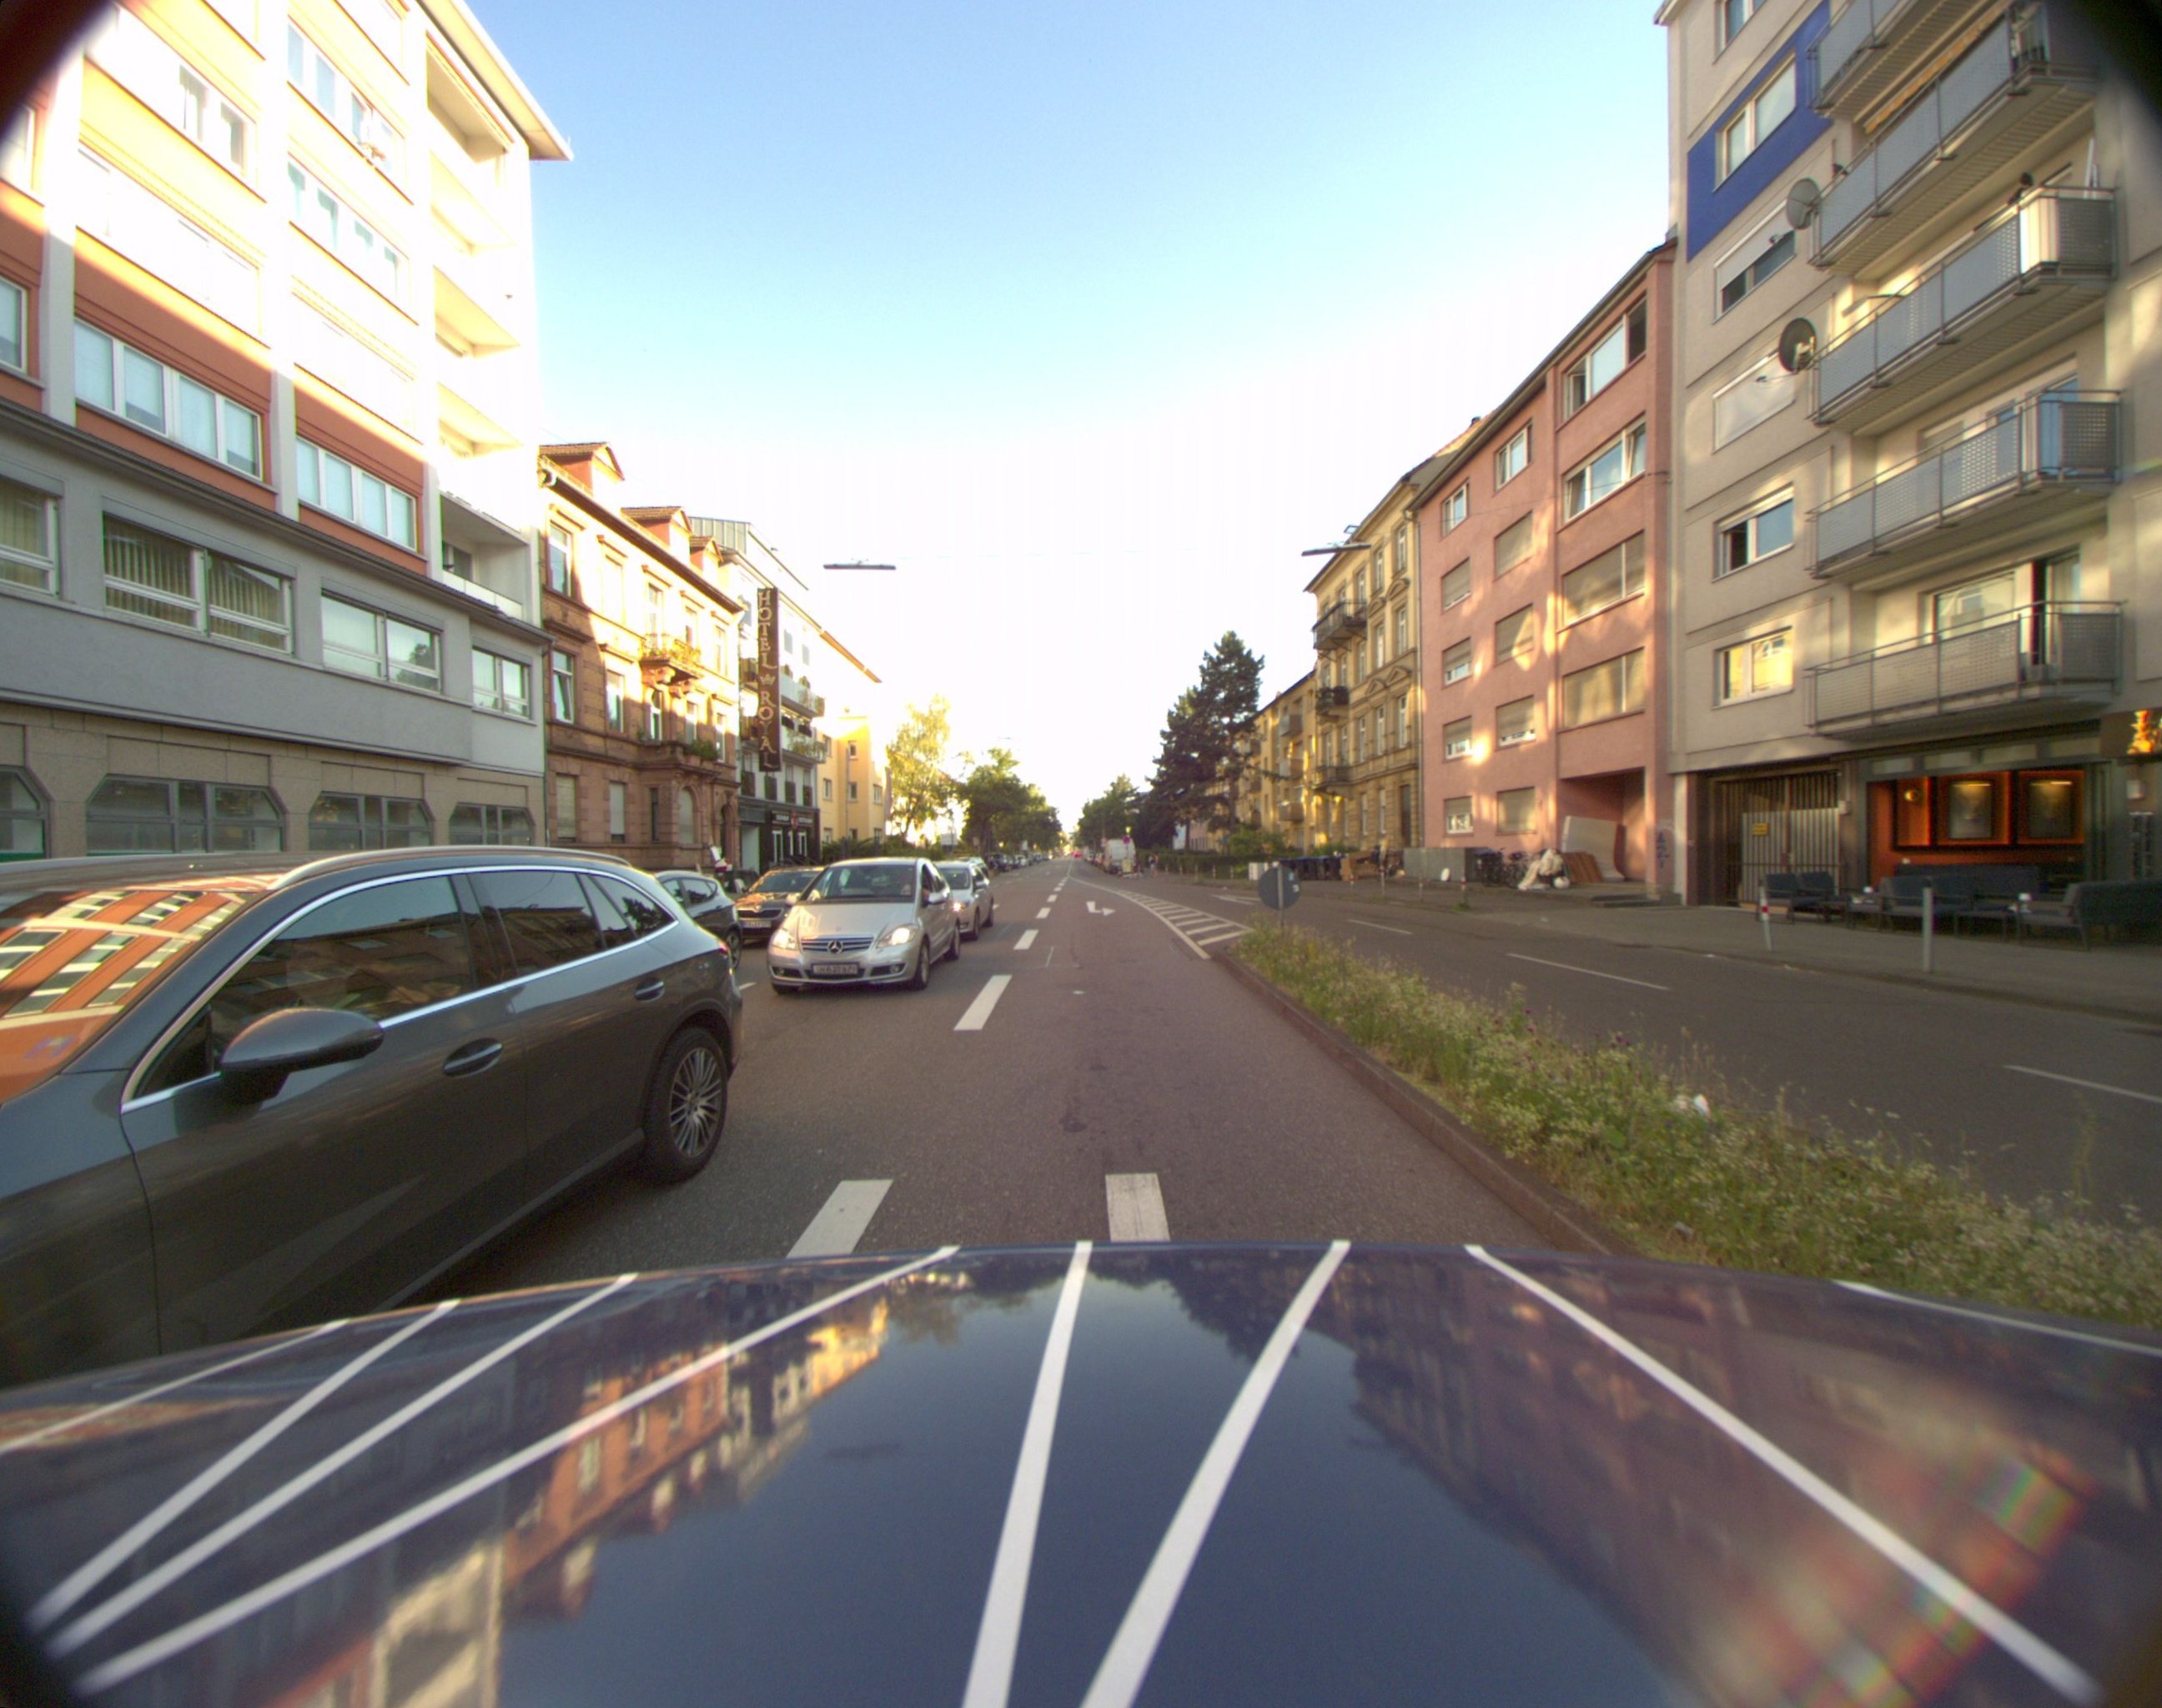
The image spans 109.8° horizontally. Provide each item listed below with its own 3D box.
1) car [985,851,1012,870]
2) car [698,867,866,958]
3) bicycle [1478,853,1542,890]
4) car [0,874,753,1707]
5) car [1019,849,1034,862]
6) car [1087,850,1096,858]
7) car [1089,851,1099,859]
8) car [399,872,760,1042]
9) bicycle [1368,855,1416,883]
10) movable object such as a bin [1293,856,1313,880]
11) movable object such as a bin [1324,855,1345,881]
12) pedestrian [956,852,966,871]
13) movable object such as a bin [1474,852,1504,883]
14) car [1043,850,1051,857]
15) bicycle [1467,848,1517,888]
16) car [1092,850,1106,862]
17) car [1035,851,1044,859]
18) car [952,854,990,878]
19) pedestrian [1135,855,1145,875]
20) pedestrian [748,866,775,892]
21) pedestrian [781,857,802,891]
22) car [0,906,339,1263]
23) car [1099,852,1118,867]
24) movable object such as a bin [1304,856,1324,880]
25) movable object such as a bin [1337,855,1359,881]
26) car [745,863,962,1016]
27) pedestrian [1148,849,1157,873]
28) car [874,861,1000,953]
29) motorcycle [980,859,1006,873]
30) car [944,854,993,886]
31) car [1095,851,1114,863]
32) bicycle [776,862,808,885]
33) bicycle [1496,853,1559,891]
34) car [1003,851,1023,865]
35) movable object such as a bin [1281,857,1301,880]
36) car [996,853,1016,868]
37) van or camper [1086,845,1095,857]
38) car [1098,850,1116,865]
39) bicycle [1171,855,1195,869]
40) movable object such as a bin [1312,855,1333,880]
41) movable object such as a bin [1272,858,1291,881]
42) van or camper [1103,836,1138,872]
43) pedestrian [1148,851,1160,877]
[{"bbox_3d":[-7.379,0.529,68.423,1.953,1.645,4.795,-1,0,-1],"label":"car"},{"bbox_3d":[-5.786,1.052,15.290,1.712,1.449,4.158,-1,0,0],"label":"car"},{"bbox_3d":[13.059,0.516,23.130,1.675,1.035,0.549,-2,1,-7],"label":"bicycle"},{"bbox_3d":[-2.773,0.946,2.135,1.788,1.623,4.478,-1,0,-1],"label":"car"},{"bbox_3d":[-7.538,0.169,105.219,1.921,1.672,4.706,1,0,-2],"label":"car"},{"bbox_3d":[2.077,0.039,155.977,1.808,1.489,3.956,-1,0,1],"label":"car"},{"bbox_3d":[2.321,0.183,131.964,1.684,1.434,3.881,-2,0,1],"label":"car"},{"bbox_3d":[-5.750,1.054,9.487,1.655,1.476,4.239,-2,0,0],"label":"car"},{"bbox_3d":[12.916,0.613,31.549,1.653,0.961,0.662,-6,1,-2],"label":"bicycle"},{"bbox_3d":[10.498,0.659,35.875,0.643,1.105,0.582,-4,2,-31],"label":"movable object such as a bin"},{"bbox_3d":[11.417,0.626,34.207,0.643,1.105,0.582,-4,2,-31],"label":"movable object such as a bin"},{"bbox_3d":[-10.409,0.666,66.003,0.748,1.606,0.579,-1,1,-2],"label":"pedestrian"},{"bbox_3d":[13.737,0.458,25.586,0.676,1.026,0.589,-1,1,-1],"label":"movable object such as a bin"},{"bbox_3d":[-8.115,-0.106,182.880,1.798,1.558,3.672,0,0,0],"label":"car"},{"bbox_3d":[12.954,0.431,23.933,1.677,1.153,0.495,-3,2,-26],"label":"bicycle"},{"bbox_3d":[2.431,0.300,103.598,1.842,1.509,4.315,-2,0,0],"label":"car"},{"bbox_3d":[-8.266,0.101,152.070,1.798,1.577,3.998,0,0,-3],"label":"car"},{"bbox_3d":[-7.523,0.806,52.399,1.860,1.503,4.834,1,0,1],"label":"car"},{"bbox_3d":[4.033,0.756,52.126,0.560,1.370,0.480,-2,1,-6],"label":"pedestrian"},{"bbox_3d":[-13.618,1.054,32.412,0.692,1.037,0.945,-1,1,3],"label":"pedestrian"},{"bbox_3d":[-14.227,0.987,37.359,0.709,1.633,0.693,-1,0,-1],"label":"pedestrian"},{"bbox_3d":[-5.647,1.113,3.273,1.493,1.497,3.478,-1,0,-1],"label":"car"},{"bbox_3d":[2.691,0.513,75.016,1.721,1.443,3.922,-2,0,-1],"label":"car"},{"bbox_3d":[10.824,0.643,35.314,0.643,1.105,0.582,-4,2,-31],"label":"movable object such as a bin"},{"bbox_3d":[11.843,0.606,33.695,0.643,1.105,0.582,-4,2,-31],"label":"movable object such as a bin"},{"bbox_3d":[-2.723,0.945,9.985,1.808,1.559,3.618,-1,0,-1],"label":"car"},{"bbox_3d":[4.889,0.456,51.843,0.481,1.642,0.725,-1,1,-7],"label":"pedestrian"},{"bbox_3d":[-2.745,0.945,15.459,1.712,1.501,4.308,-2,0,0],"label":"car"},{"bbox_3d":[-6.979,0.941,60.071,1.932,1.065,0.819,-1,1,-12],"label":"motorcycle"},{"bbox_3d":[-5.751,0.781,39.321,1.999,1.525,3.999,-1,0,-2],"label":"car"},{"bbox_3d":[2.799,0.358,91.200,1.999,1.439,4.457,-1,1,-1],"label":"car"},{"bbox_3d":[-14.262,0.955,37.512,1.427,1.104,0.488,2,0,-18],"label":"bicycle"},{"bbox_3d":[13.101,0.521,22.302,1.676,1.035,0.549,-2,1,-15],"label":"bicycle"},{"bbox_3d":[-7.493,0.441,84.047,1.775,1.440,4.483,0,0,-1],"label":"car"},{"bbox_3d":[10.065,0.708,36.461,0.643,1.062,0.626,-4,2,-31],"label":"movable object such as a bin"},{"bbox_3d":[-7.604,0.598,77.244,1.721,1.464,4.430,0,0,-2],"label":"car"},{"bbox_3d":[2.116,-0.651,169.869,1.918,2.528,5.334,-1,0,0],"label":"van or camper"},{"bbox_3d":[2.918,0.366,86.206,1.781,1.579,4.185,-2,0,0],"label":"car"},{"bbox_3d":[7.984,0.614,59.551,1.763,0.976,0.590,-2,1,1],"label":"bicycle"},{"bbox_3d":[11.035,0.601,34.679,0.643,1.105,0.582,-4,2,-31],"label":"movable object such as a bin"},{"bbox_3d":[9.775,0.733,37.063,0.643,1.077,0.582,-4,2,-31],"label":"movable object such as a bin"},{"bbox_3d":[3.084,0.010,60.880,2.041,2.648,6.013,-3,1,-3],"label":"van or camper"},{"bbox_3d":[4.671,0.622,48.881,0.606,1.642,0.696,-1,1,-7],"label":"pedestrian"}]
